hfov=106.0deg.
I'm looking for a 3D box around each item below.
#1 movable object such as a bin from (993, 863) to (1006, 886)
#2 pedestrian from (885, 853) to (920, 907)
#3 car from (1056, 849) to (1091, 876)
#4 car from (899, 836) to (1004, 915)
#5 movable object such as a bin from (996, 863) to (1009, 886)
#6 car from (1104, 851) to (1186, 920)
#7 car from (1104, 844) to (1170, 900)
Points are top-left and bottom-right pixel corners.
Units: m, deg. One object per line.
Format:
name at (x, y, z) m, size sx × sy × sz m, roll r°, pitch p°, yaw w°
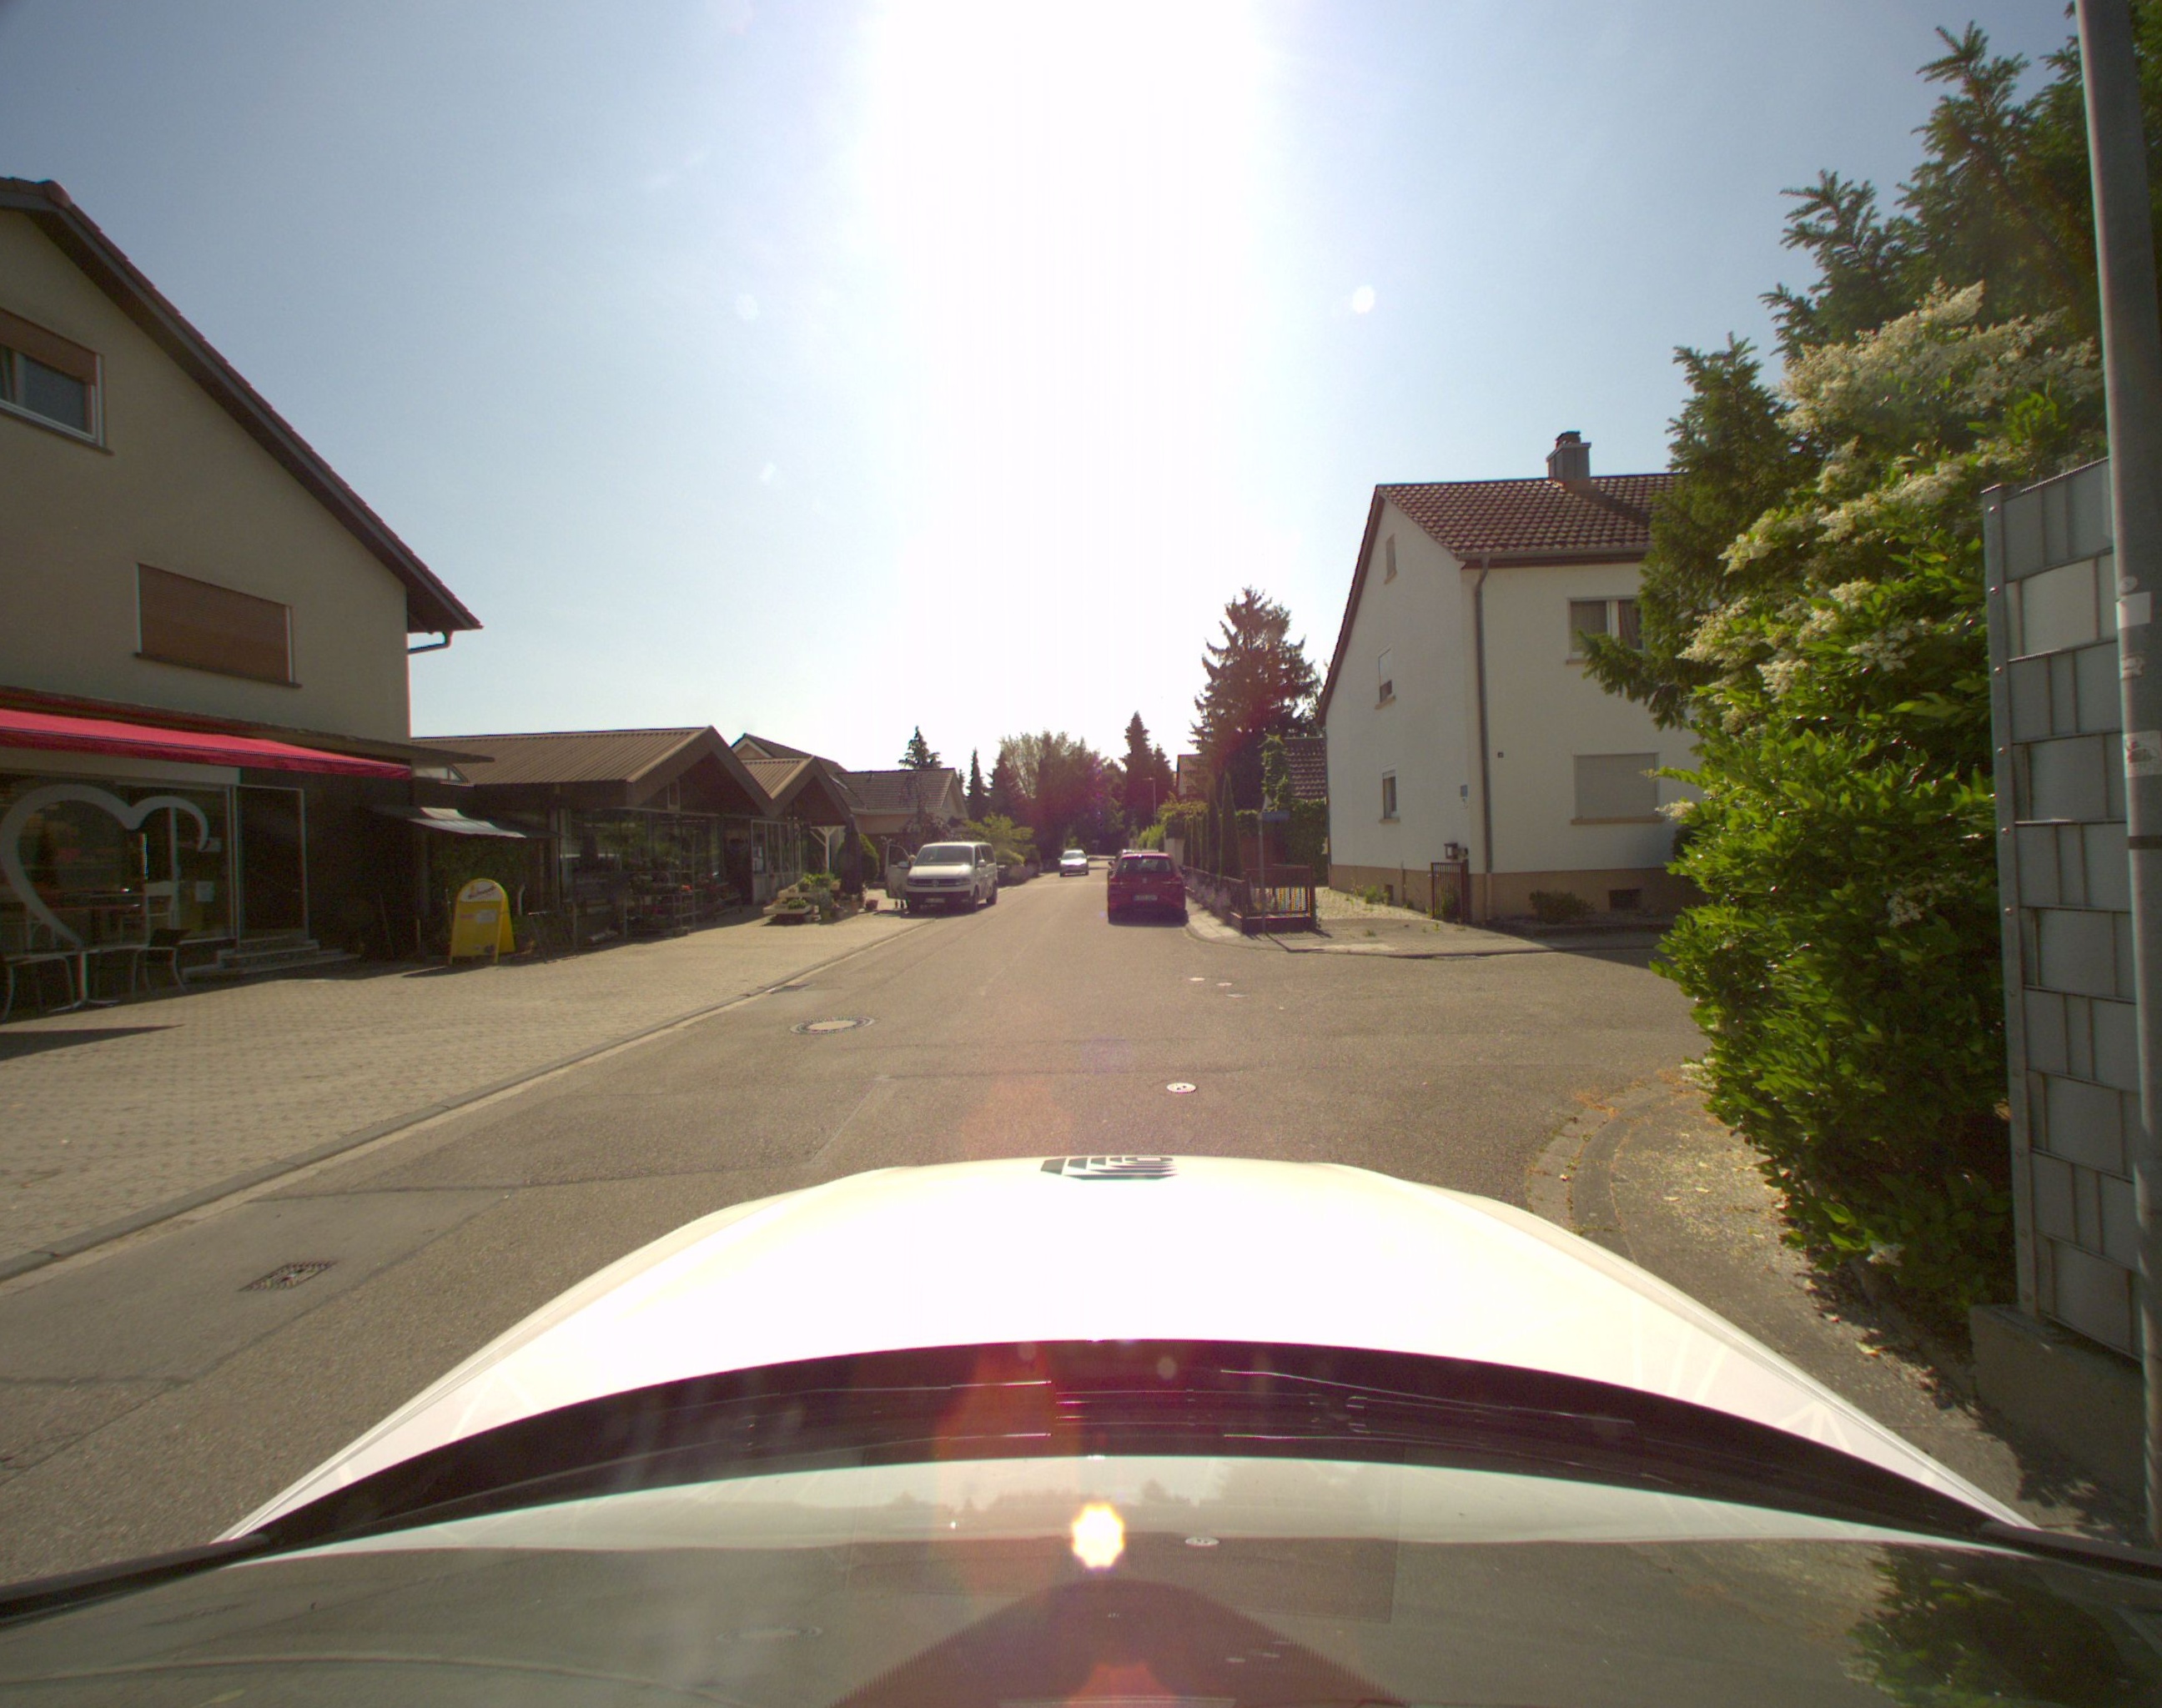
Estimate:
movable object such as a bin at (-3.691, 0.947, 37.090) m, size 0.492 × 1.024 × 0.448 m, roll -2°, pitch 0°, yaw 2°
pedestrian at (-5.207, 0.757, 23.795) m, size 0.710 × 1.538 × 0.646 m, roll -1°, pitch 1°, yaw 35°
car at (-0.396, 0.464, 48.758) m, size 1.745 × 1.487 × 4.379 m, roll -2°, pitch 0°, yaw 3°
car at (-3.647, 0.559, 23.968) m, size 1.920 × 2.013 × 4.901 m, roll -2°, pitch 0°, yaw 4°
movable object such as a bin at (-3.640, 0.950, 37.598) m, size 0.492 × 1.024 × 0.448 m, roll -2°, pitch 0°, yaw 2°
car at (1.574, 0.664, 19.466) m, size 1.766 × 1.479 × 4.007 m, roll 0°, pitch 0°, yaw 6°
car at (1.729, 0.528, 26.270) m, size 1.817 × 1.615 × 3.999 m, roll -1°, pitch 0°, yaw 0°
